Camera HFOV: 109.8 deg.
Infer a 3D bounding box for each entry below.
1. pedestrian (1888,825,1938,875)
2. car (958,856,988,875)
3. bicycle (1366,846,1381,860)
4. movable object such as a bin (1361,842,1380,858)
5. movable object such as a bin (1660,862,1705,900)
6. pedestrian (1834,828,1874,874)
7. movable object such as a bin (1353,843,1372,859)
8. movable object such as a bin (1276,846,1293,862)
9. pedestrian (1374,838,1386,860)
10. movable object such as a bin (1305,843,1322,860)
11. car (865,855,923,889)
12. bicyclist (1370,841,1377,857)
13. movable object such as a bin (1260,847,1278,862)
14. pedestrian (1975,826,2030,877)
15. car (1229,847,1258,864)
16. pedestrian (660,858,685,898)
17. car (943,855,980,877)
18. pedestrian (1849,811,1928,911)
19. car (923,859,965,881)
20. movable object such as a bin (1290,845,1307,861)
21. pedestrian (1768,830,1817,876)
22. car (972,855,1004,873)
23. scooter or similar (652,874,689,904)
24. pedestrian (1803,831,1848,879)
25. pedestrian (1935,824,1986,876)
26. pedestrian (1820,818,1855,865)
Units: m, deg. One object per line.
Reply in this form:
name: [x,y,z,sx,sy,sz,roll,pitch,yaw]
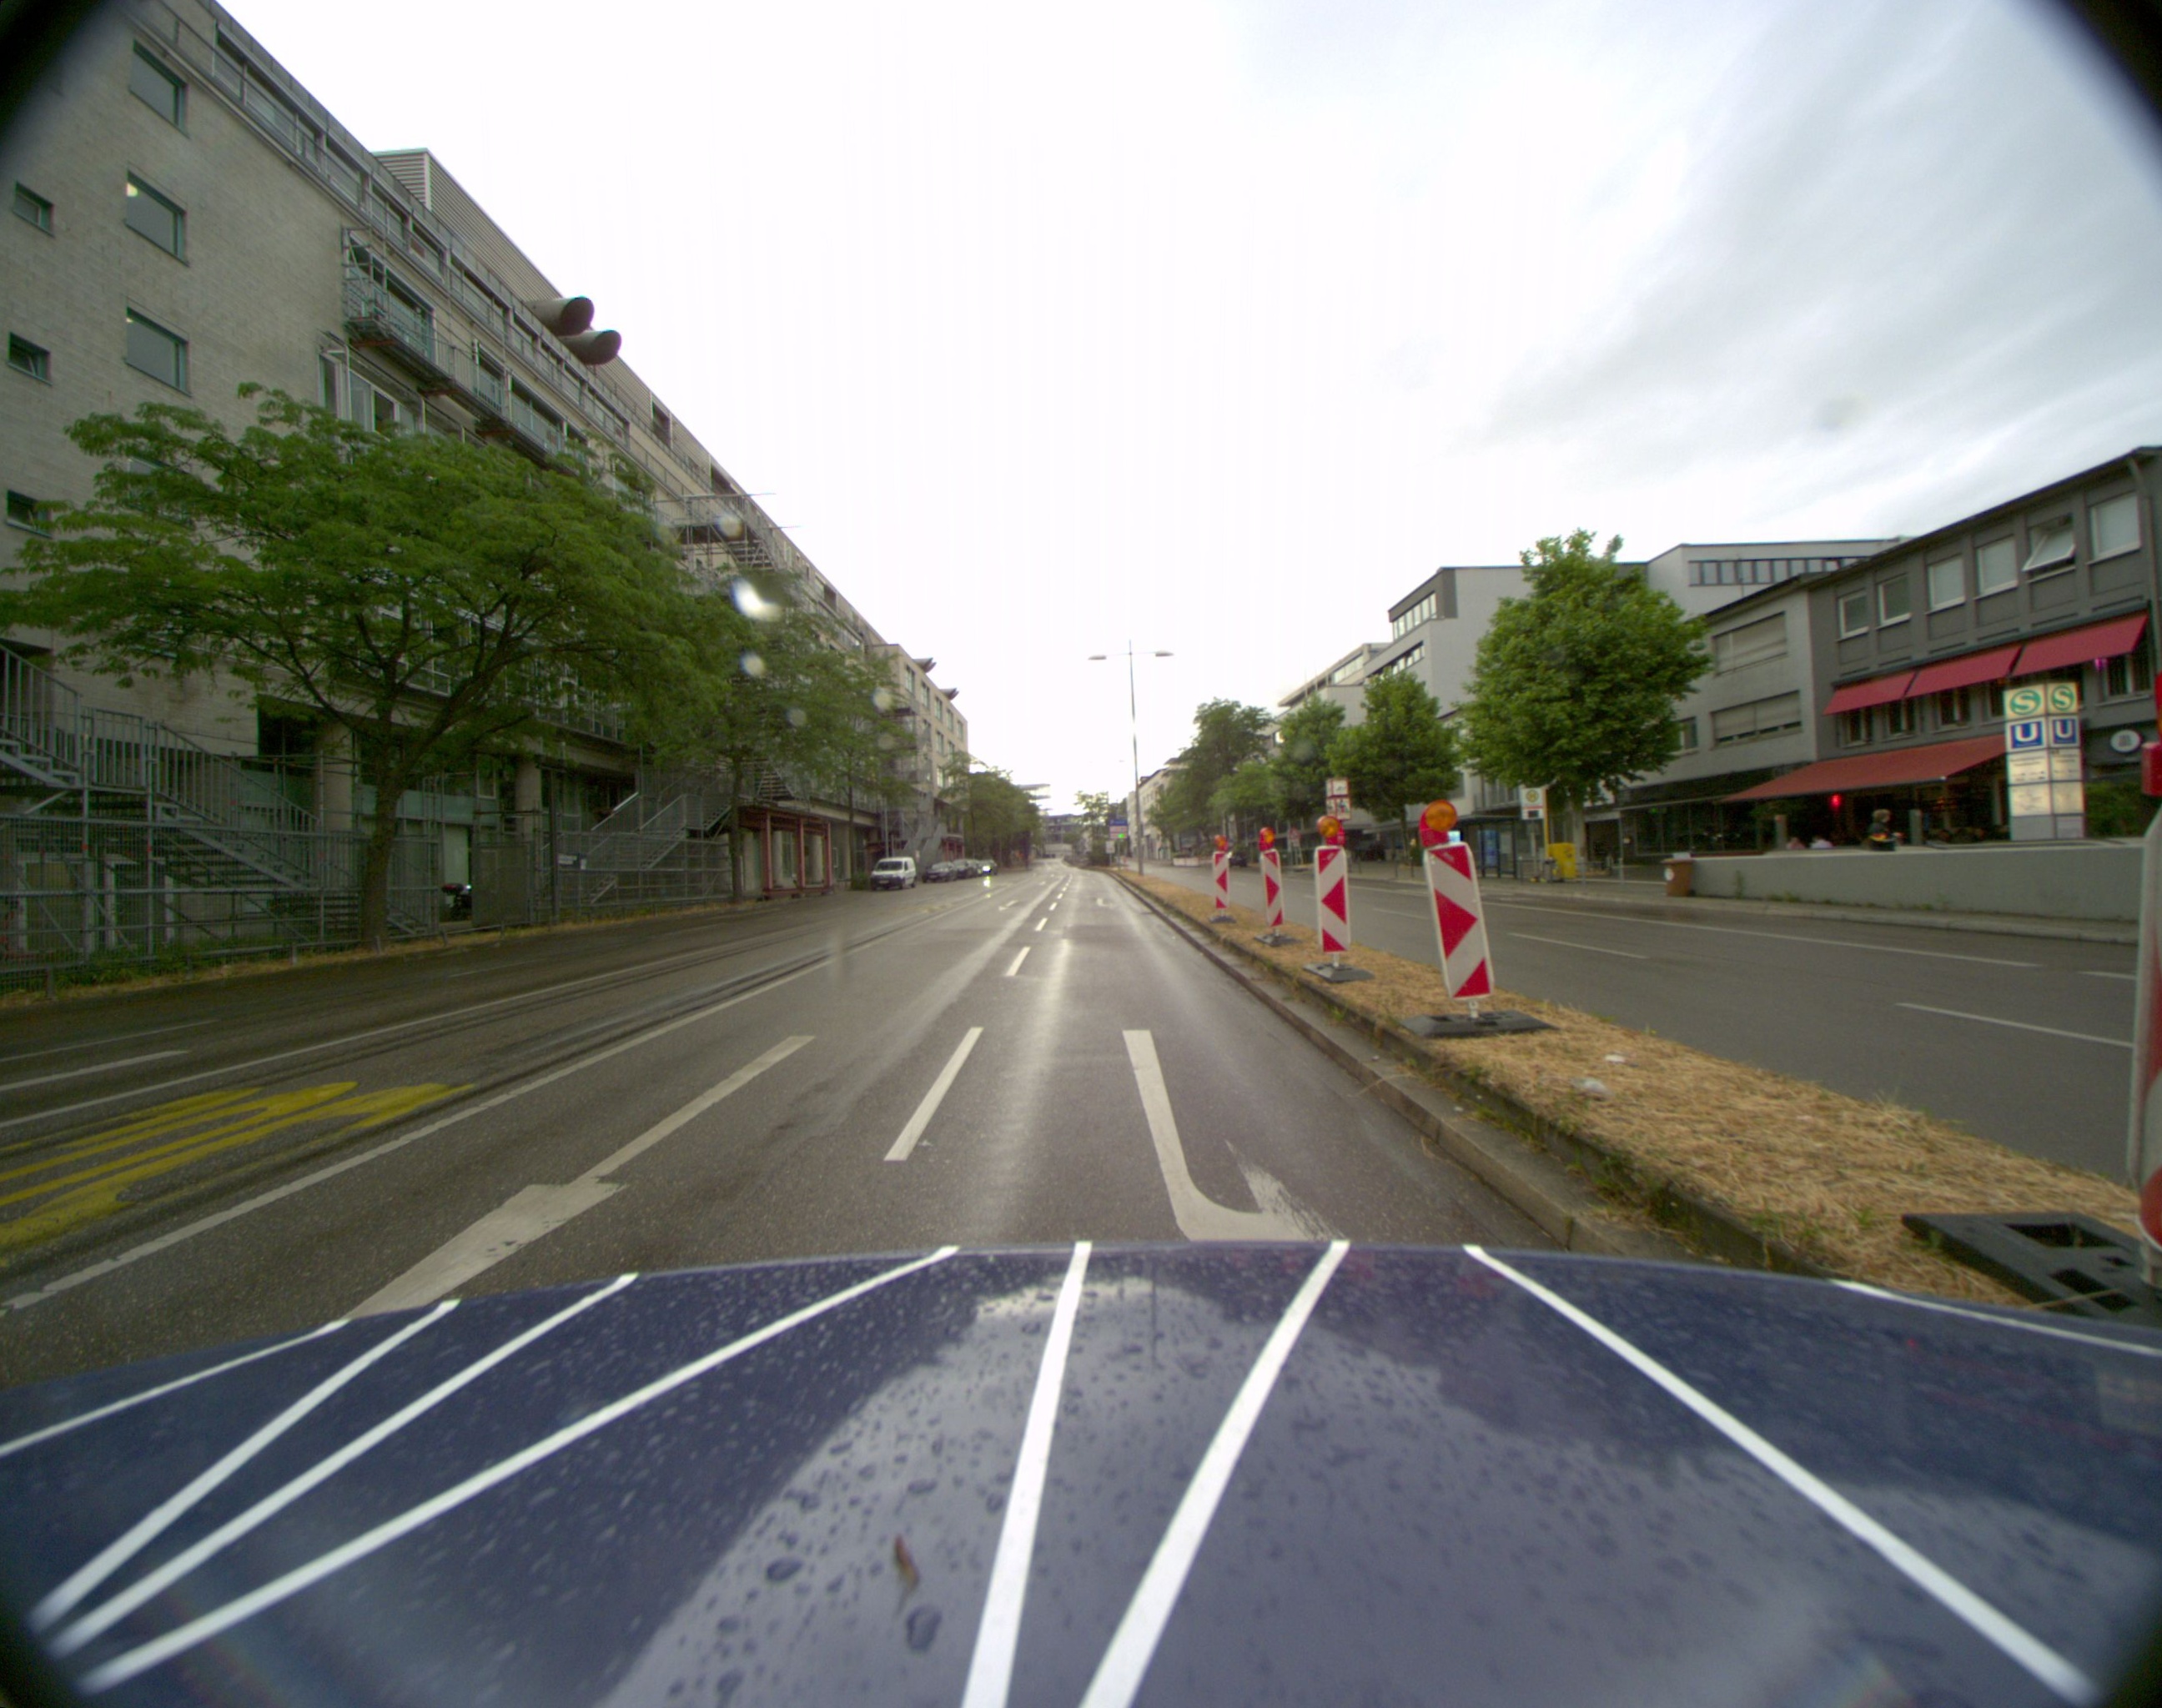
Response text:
pedestrian: [24.951,-0.122,22.795,0.728,1.442,0.691,-2,1,-6]
car: [-9.441,0.957,66.716,1.866,1.591,4.593,-2,0,1]
bicycle: [25.703,-0.073,66.703,1.148,1.217,0.405,-1,1,6]
movable object such as a bin: [26.840,-0.360,70.398,1.088,1.427,1.281,-2,0,-9]
movable object such as a bin: [14.521,0.646,18.352,0.533,0.892,0.682,0,0,-9]
pedestrian: [24.909,-0.091,24.484,0.691,1.442,0.547,-2,1,-4]
movable object such as a bin: [26.652,-0.305,71.936,1.088,1.427,1.281,-2,0,-9]
movable object such as a bin: [18.962,0.010,70.902,1.281,1.418,1.088,-2,1,1]
pedestrian: [23.940,-0.383,60.924,0.698,1.753,0.653,-1,1,3]
movable object such as a bin: [21.707,-0.228,70.919,1.281,1.480,1.088,-2,1,1]
car: [-10.446,0.959,42.803,1.998,1.739,4.526,-2,0,1]
bicyclist: [25.693,-0.460,66.700,0.424,1.393,0.408,-1,1,6]
movable object such as a bin: [17.521,0.046,70.901,1.362,1.418,1.088,-2,1,1]
pedestrian: [24.923,-0.060,20.558,0.635,1.336,0.691,-2,1,-6]
car: [15.949,0.153,74.601,1.783,1.626,4.023,-2,0,-2]
pedestrian: [-18.277,1.053,33.992,0.677,1.732,0.653,-1,1,3]
car: [-9.585,0.945,61.342,1.998,1.636,4.863,-2,0,3]
pedestrian: [15.775,0.127,14.857,0.691,1.874,0.758,-2,1,-4]
car: [-9.775,1.103,54.549,1.873,1.429,4.922,-2,0,3]
movable object such as a bin: [20.313,-0.112,70.927,1.281,1.418,1.088,-2,1,1]
pedestrian: [23.109,-0.039,24.696,0.691,1.442,0.914,-2,0,-4]
car: [-8.847,0.941,72.635,1.998,1.591,5.290,-2,0,4]
scooter or similar: [-17.176,1.457,31.834,0.633,1.155,1.547,-2,0,1]
pedestrian: [23.185,0.029,23.663,0.691,1.442,0.707,-2,1,-4]
pedestrian: [24.777,-0.111,21.418,0.635,1.442,0.691,-2,1,-6]
pedestrian: [26.037,-0.430,26.158,0.598,1.561,0.604,-2,1,-9]
